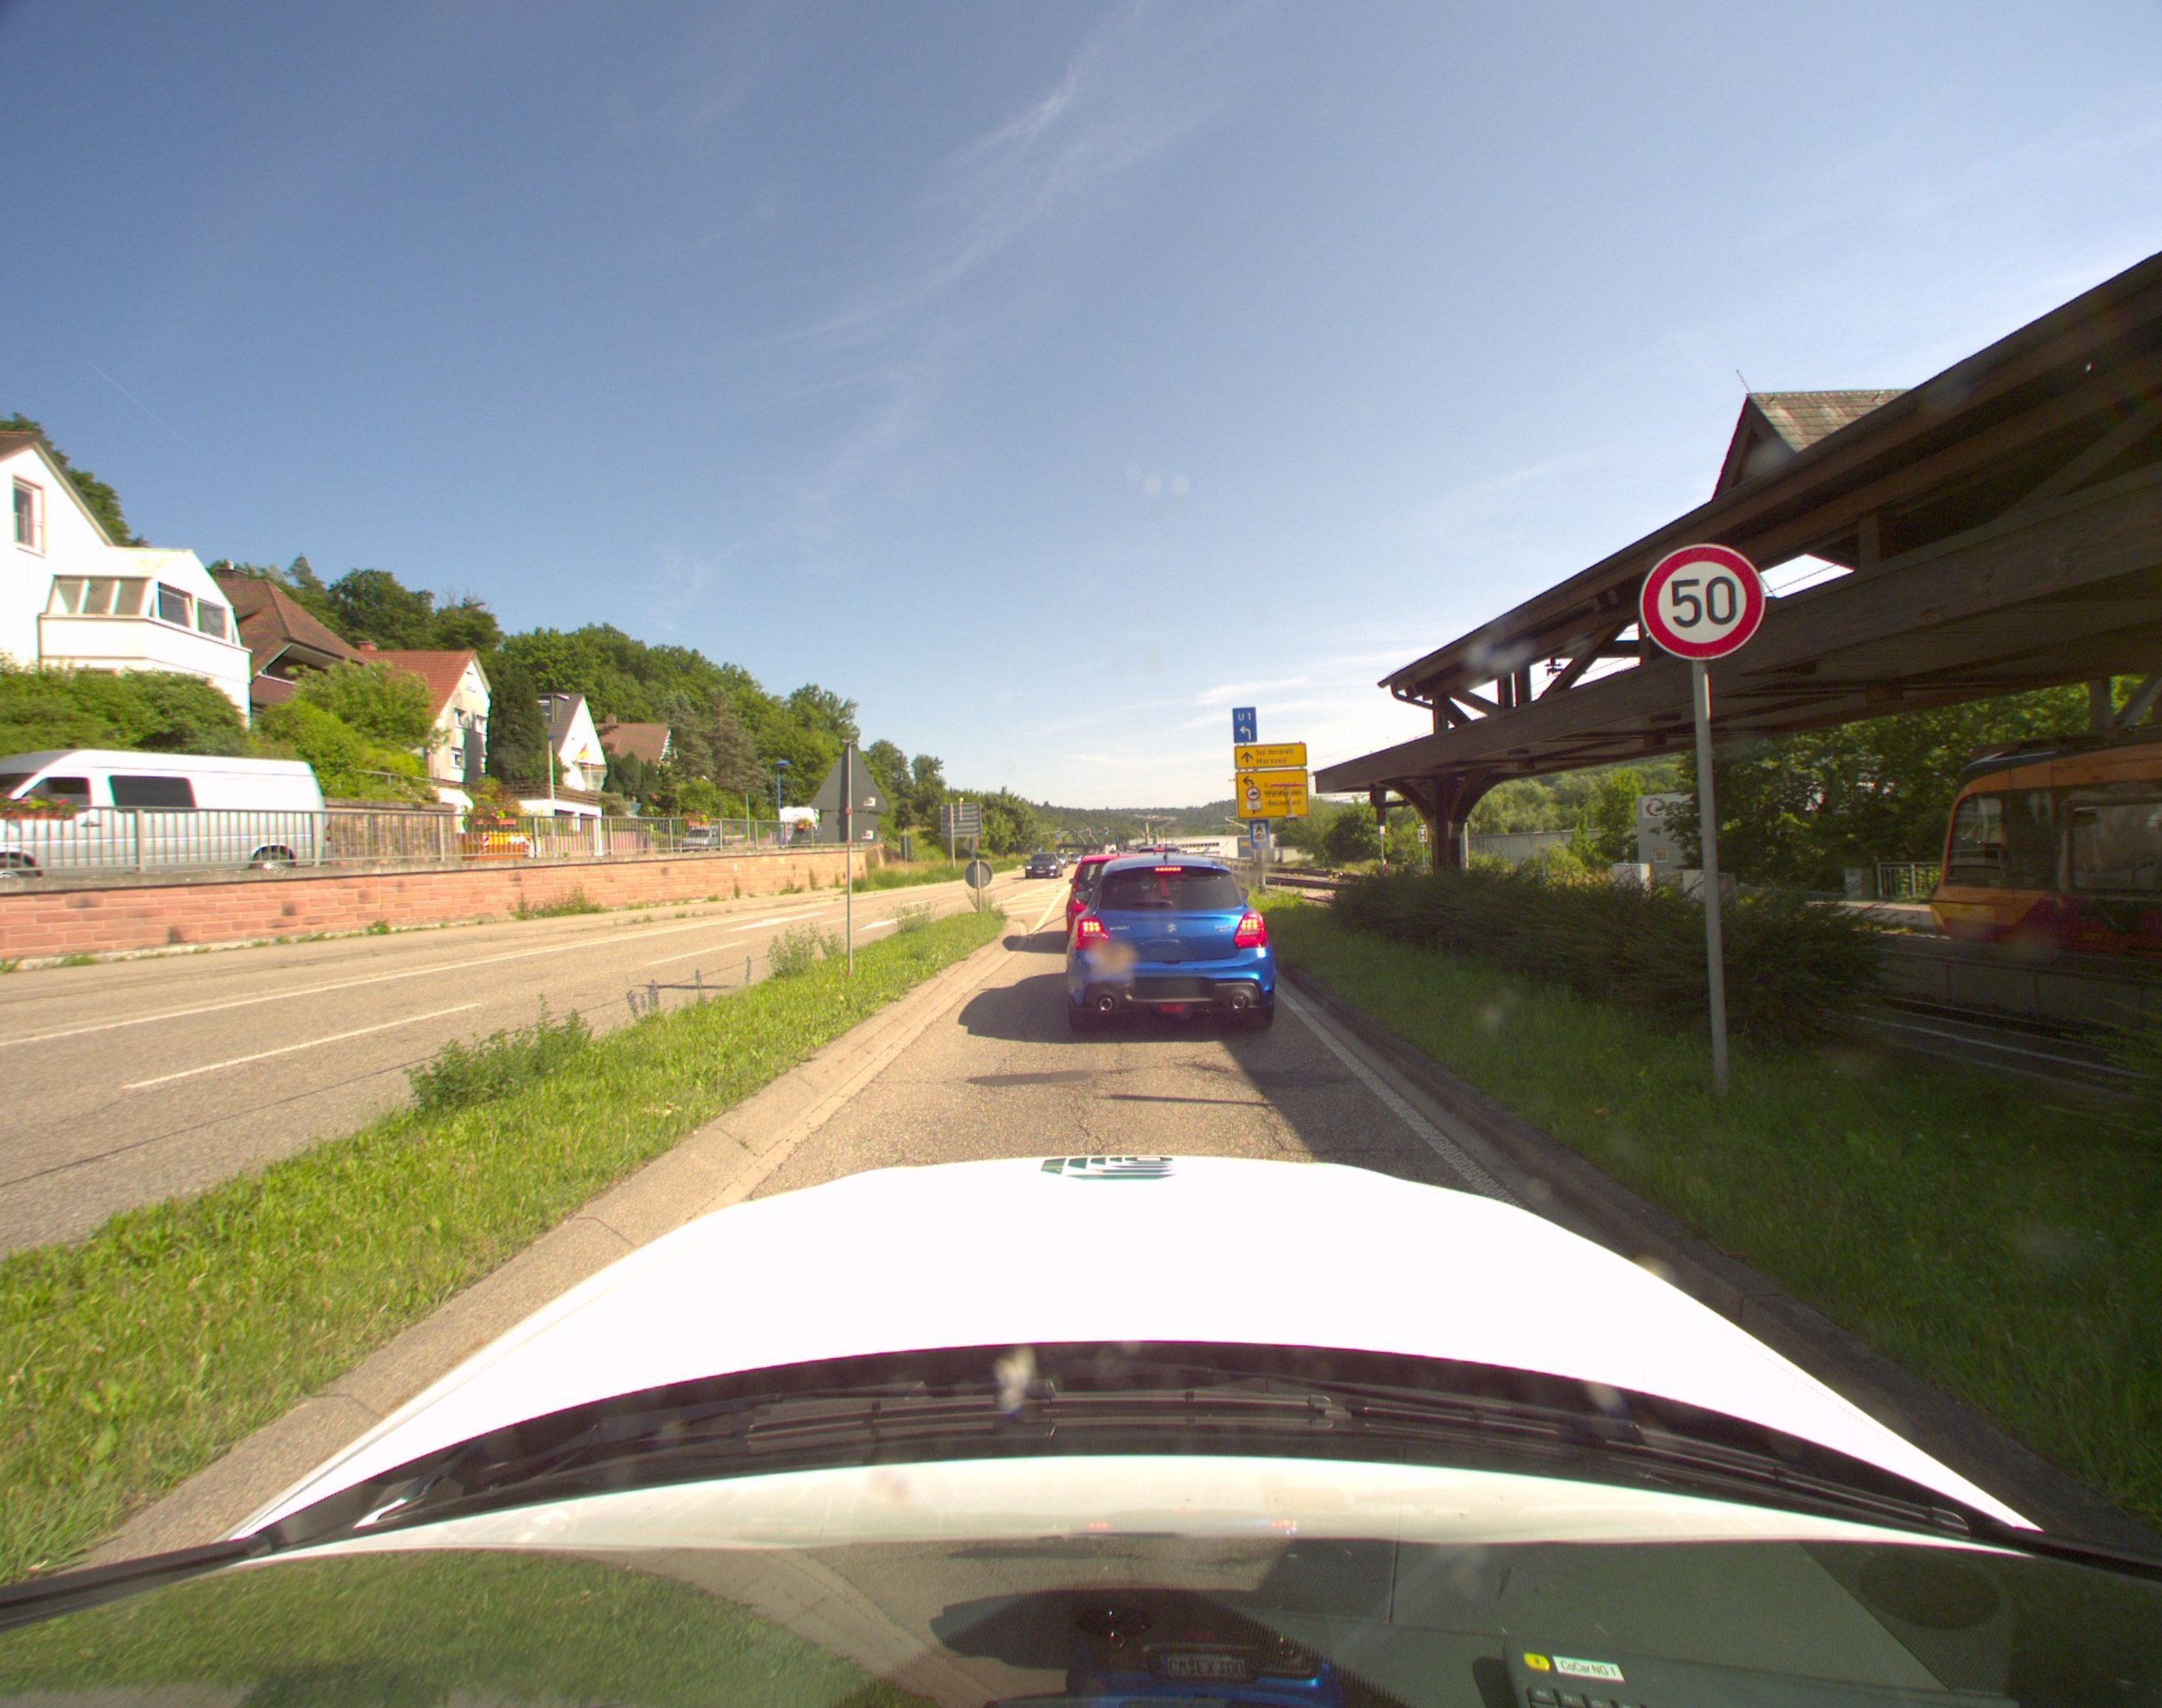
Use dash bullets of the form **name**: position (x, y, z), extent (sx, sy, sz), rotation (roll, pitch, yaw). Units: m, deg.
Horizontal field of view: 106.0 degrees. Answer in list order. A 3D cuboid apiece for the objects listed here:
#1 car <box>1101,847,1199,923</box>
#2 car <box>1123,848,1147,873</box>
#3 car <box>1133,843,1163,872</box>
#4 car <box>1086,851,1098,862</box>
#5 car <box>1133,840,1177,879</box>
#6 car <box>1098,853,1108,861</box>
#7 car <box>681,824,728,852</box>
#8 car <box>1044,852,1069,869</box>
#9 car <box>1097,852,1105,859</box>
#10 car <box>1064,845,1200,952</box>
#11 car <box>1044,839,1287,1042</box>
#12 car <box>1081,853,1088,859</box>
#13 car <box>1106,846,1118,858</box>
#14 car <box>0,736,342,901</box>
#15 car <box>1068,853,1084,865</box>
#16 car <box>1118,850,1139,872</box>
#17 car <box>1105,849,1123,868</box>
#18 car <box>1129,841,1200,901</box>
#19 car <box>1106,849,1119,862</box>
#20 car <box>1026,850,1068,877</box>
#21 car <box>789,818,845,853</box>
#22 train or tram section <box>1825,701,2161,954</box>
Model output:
- **car**: position (1.598, 0.632, 19.255), extent (1.985, 1.531, 4.606), rotation (-2, 0, 4)
- **car**: position (4.712, 0.556, 71.170), extent (1.986, 2.013, 4.003), rotation (0, 1, 2)
- **car**: position (4.877, 0.210, 59.639), extent (1.986, 2.013, 4.003), rotation (0, 1, 2)
- **car**: position (1.981, 0.435, 141.458), extent (1.986, 1.783, 4.002), rotation (0, 0, 2)
- **car**: position (3.541, 0.235, 39.271), extent (1.985, 1.736, 4.004), rotation (0, 0, 4)
- **car**: position (4.442, 0.602, 161.890), extent (1.986, 1.554, 4.217), rotation (0, 0, 2)
- **car**: position (-23.666, -0.976, 51.343), extent (1.897, 1.629, 3.981), rotation (-1, 0, -14)
- **car**: position (-2.353, 0.585, 80.359), extent (1.984, 1.564, 4.514), rotation (-1, 0, 4)
- **car**: position (4.721, 0.357, 191.195), extent (1.986, 1.591, 4.002), rotation (0, 0, 2)
- **car**: position (0.885, 0.661, 14.004), extent (1.985, 1.571, 4.004), rotation (0, 0, 4)
- **car**: position (0.712, 0.667, 8.333), extent (1.861, 1.548, 4.001), rotation (-1, 0, 1)
- **car**: position (1.174, 0.624, 246.509), extent (1.986, 1.664, 4.001), rotation (0, 0, 1)
- **car**: position (5.301, -0.338, 140.675), extent (1.986, 2.144, 4.722), rotation (0, 0, 2)
- **car**: position (-16.774, -0.575, 14.180), extent (2.082, 2.444, 5.796), rotation (0, 1, 7)
- **car**: position (-0.639, 0.609, 102.854), extent (1.665, 1.441, 3.844), rotation (-1, 0, 4)
- **car**: position (4.725, 0.651, 81.264), extent (1.986, 2.013, 4.003), rotation (0, 1, 2)
- **car**: position (3.751, 0.515, 93.179), extent (1.986, 2.013, 4.003), rotation (0, 1, 2)
- **car**: position (2.527, 0.473, 25.317), extent (1.985, 1.686, 4.502), rotation (0, 0, 4)
- **car**: position (4.912, 0.230, 126.213), extent (1.986, 1.816, 4.003), rotation (0, 1, 2)
- **car**: position (-1.935, 0.543, 47.668), extent (1.783, 1.470, 4.723), rotation (-1, 0, 5)
- **car**: position (-15.316, -1.095, 47.489), extent (2.017, 1.920, 4.724), rotation (0, 1, -4)
- **train or tram section**: position (15.709, -0.332, 9.751), extent (2.746, 3.364, 12.050), rotation (0, 1, 1)
